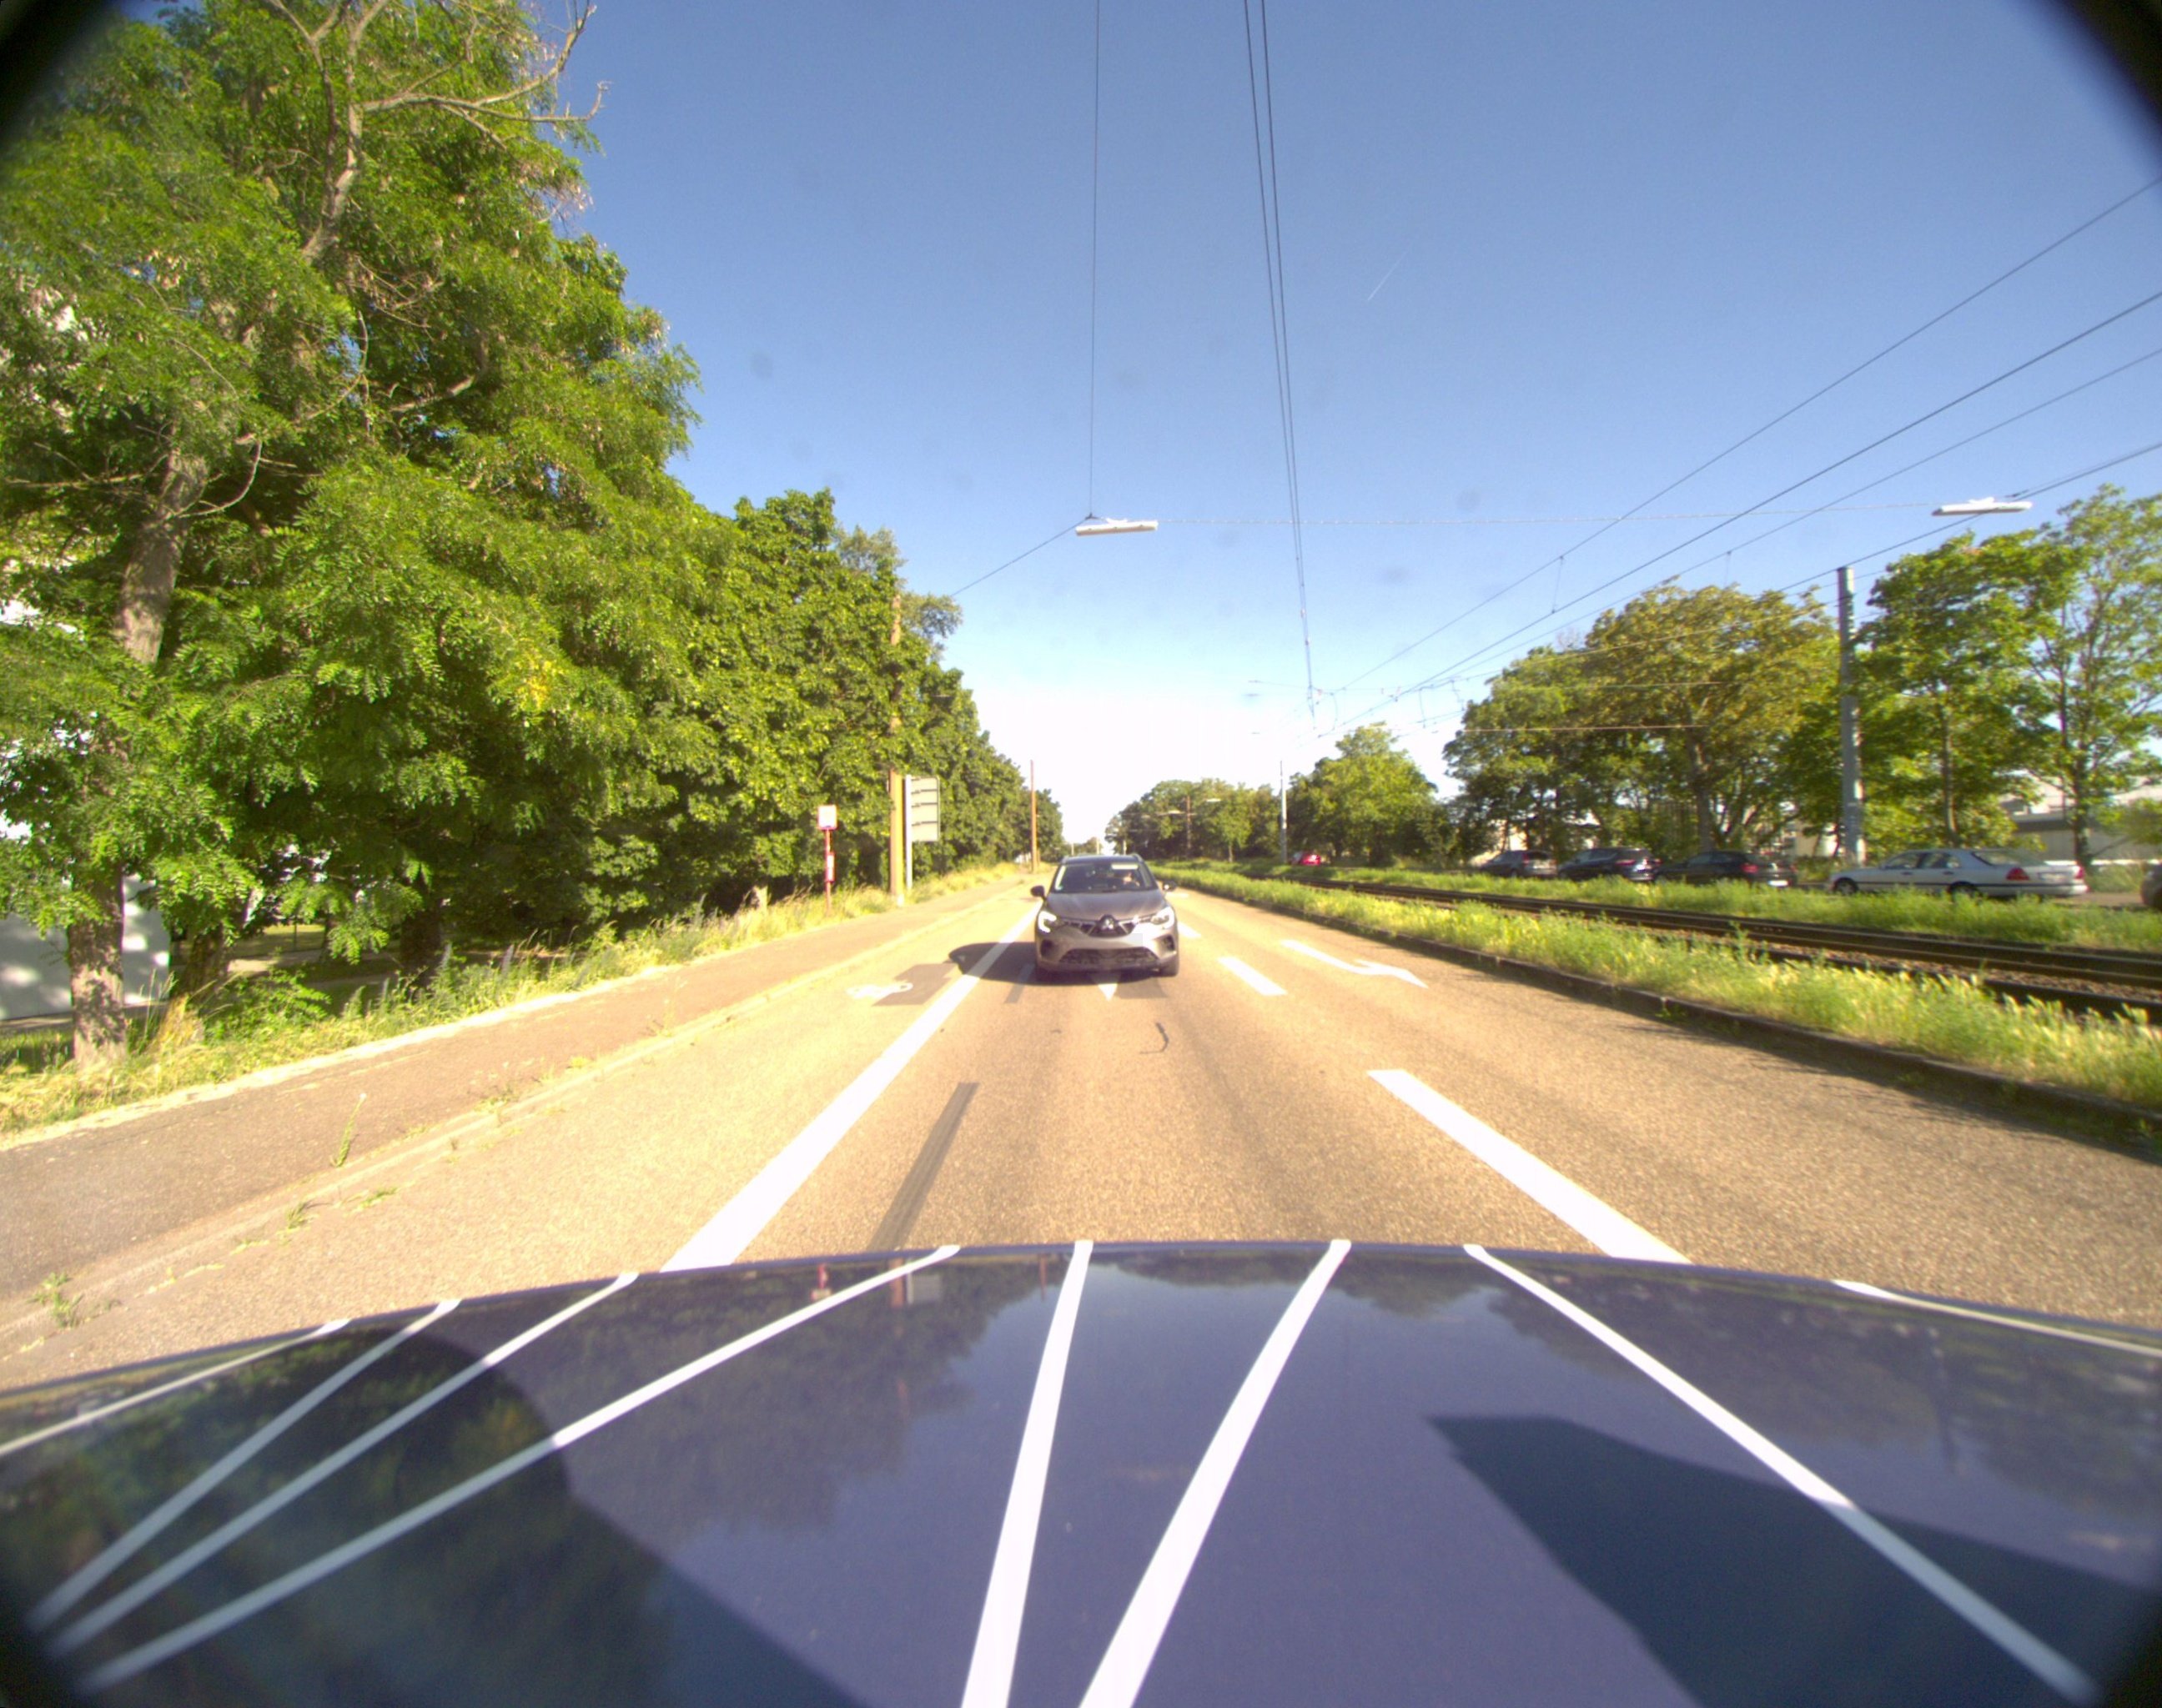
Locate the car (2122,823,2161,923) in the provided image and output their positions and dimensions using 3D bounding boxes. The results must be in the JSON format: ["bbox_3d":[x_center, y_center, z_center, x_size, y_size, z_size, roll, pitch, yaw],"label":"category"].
[{"bbox_3d":[21.285,0.323,12.362,2.202,1.880,4.792,-2,0,3],"label":"car"}]

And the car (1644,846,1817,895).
[{"bbox_3d":[21.406,0.503,25.329,1.998,1.429,4.415,-2,0,1],"label":"car"}]

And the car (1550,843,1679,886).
[{"bbox_3d":[21.373,0.404,30.688,1.999,1.565,4.434,-2,0,-1],"label":"car"}]

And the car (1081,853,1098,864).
[{"bbox_3d":[1.198,0.664,112.984,1.999,1.577,3.998,-2,0,-6],"label":"car"}]

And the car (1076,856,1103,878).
[{"bbox_3d":[0.593,0.921,54.097,1.832,1.477,4.000,-2,0,1],"label":"car"}]

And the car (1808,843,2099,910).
[{"bbox_3d":[21.398,0.510,19.026,1.933,1.429,4.695,-2,0,1],"label":"car"}]

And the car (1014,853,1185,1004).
[{"bbox_3d":[0.215,0.821,10.593,1.822,1.589,4.413,-2,0,0],"label":"car"}]

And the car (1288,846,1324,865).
[{"bbox_3d":[21.001,0.110,71.075,2.009,1.692,4.466,-2,0,-1],"label":"car"}]

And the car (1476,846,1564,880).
[{"bbox_3d":[21.481,0.389,37.397,1.740,1.485,4.327,-3,0,-1],"label":"car"}]
